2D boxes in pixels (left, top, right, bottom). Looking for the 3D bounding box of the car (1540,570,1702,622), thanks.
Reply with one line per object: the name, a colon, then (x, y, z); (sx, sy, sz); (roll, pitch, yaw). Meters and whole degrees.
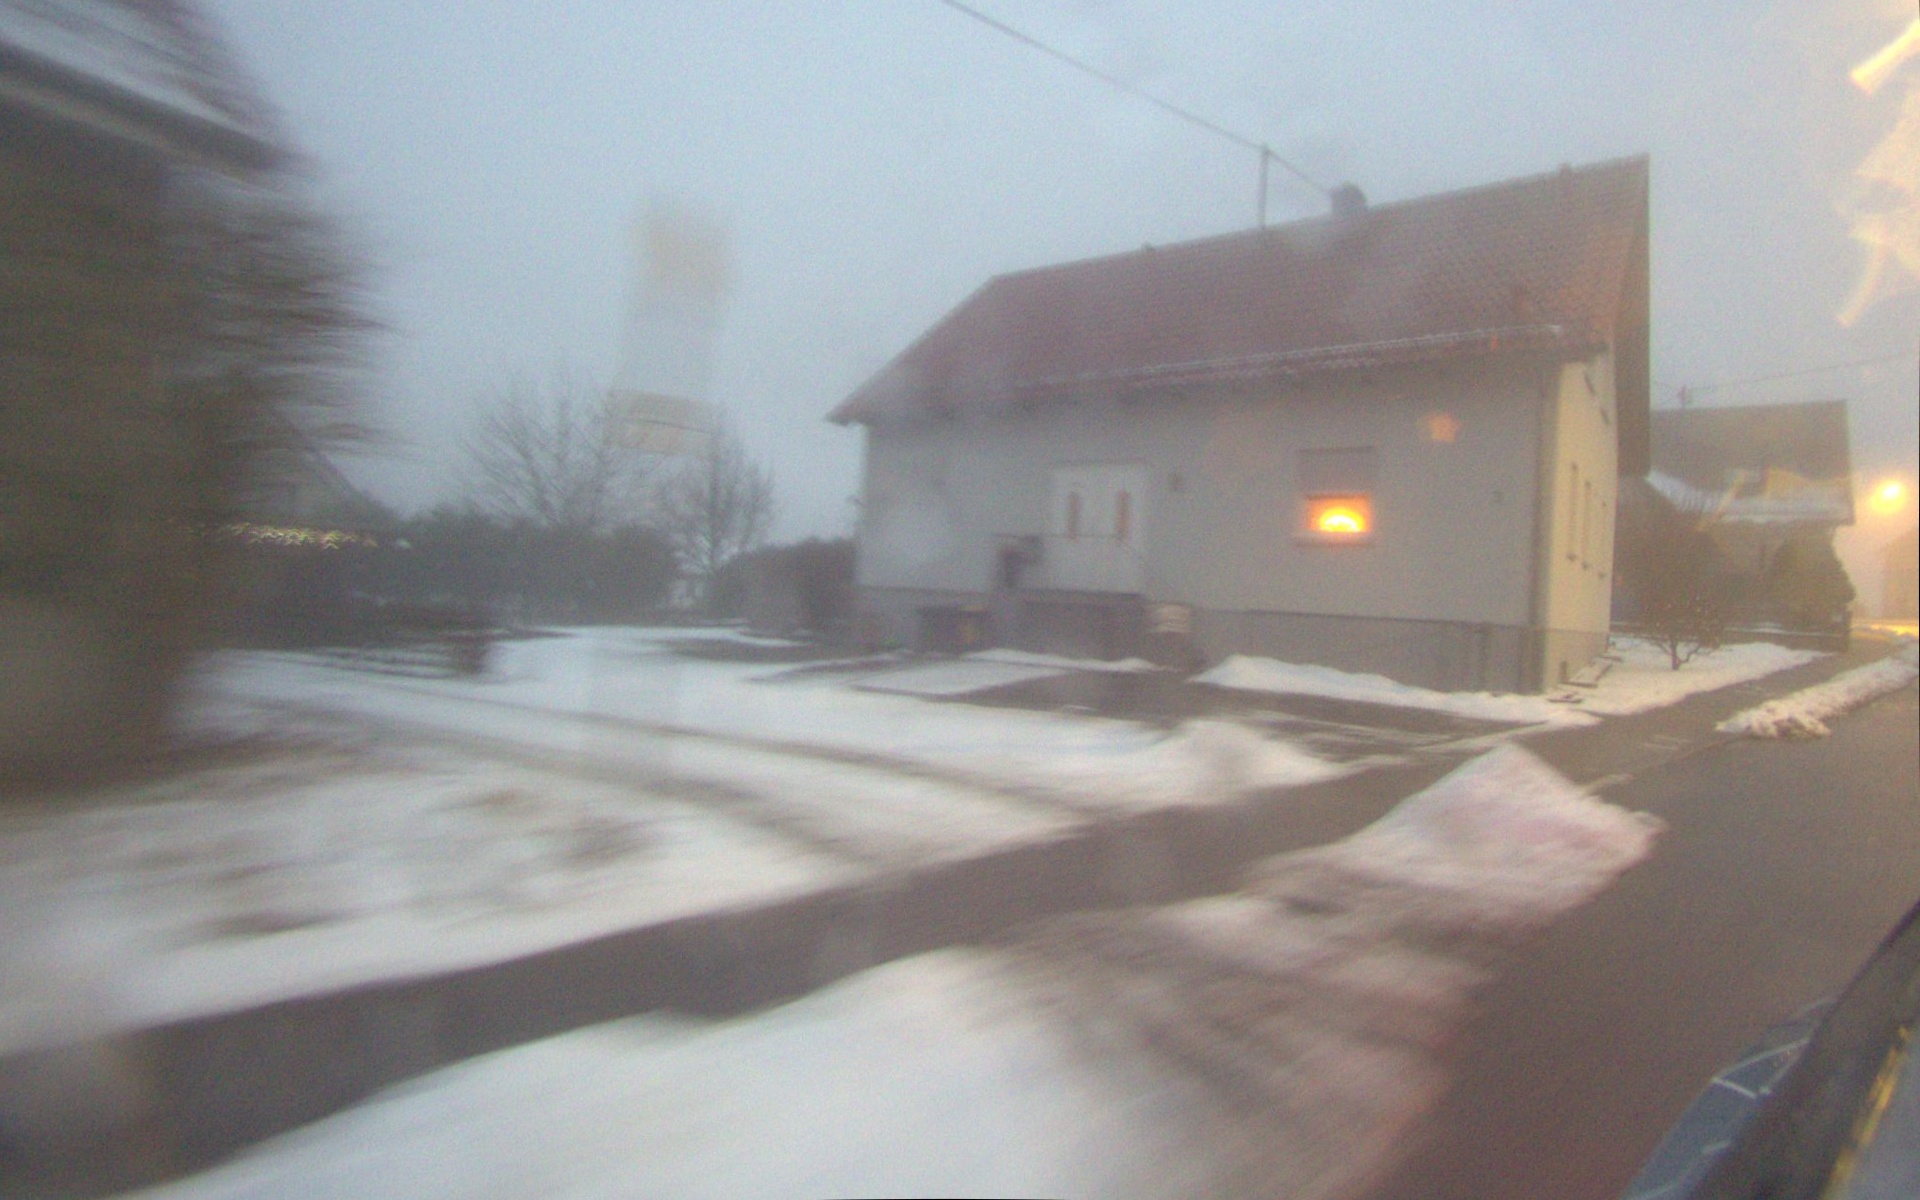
car: (22.126, -0.135, 33.960); (4.437, 1.607, 1.973); (0, 1, 38)
